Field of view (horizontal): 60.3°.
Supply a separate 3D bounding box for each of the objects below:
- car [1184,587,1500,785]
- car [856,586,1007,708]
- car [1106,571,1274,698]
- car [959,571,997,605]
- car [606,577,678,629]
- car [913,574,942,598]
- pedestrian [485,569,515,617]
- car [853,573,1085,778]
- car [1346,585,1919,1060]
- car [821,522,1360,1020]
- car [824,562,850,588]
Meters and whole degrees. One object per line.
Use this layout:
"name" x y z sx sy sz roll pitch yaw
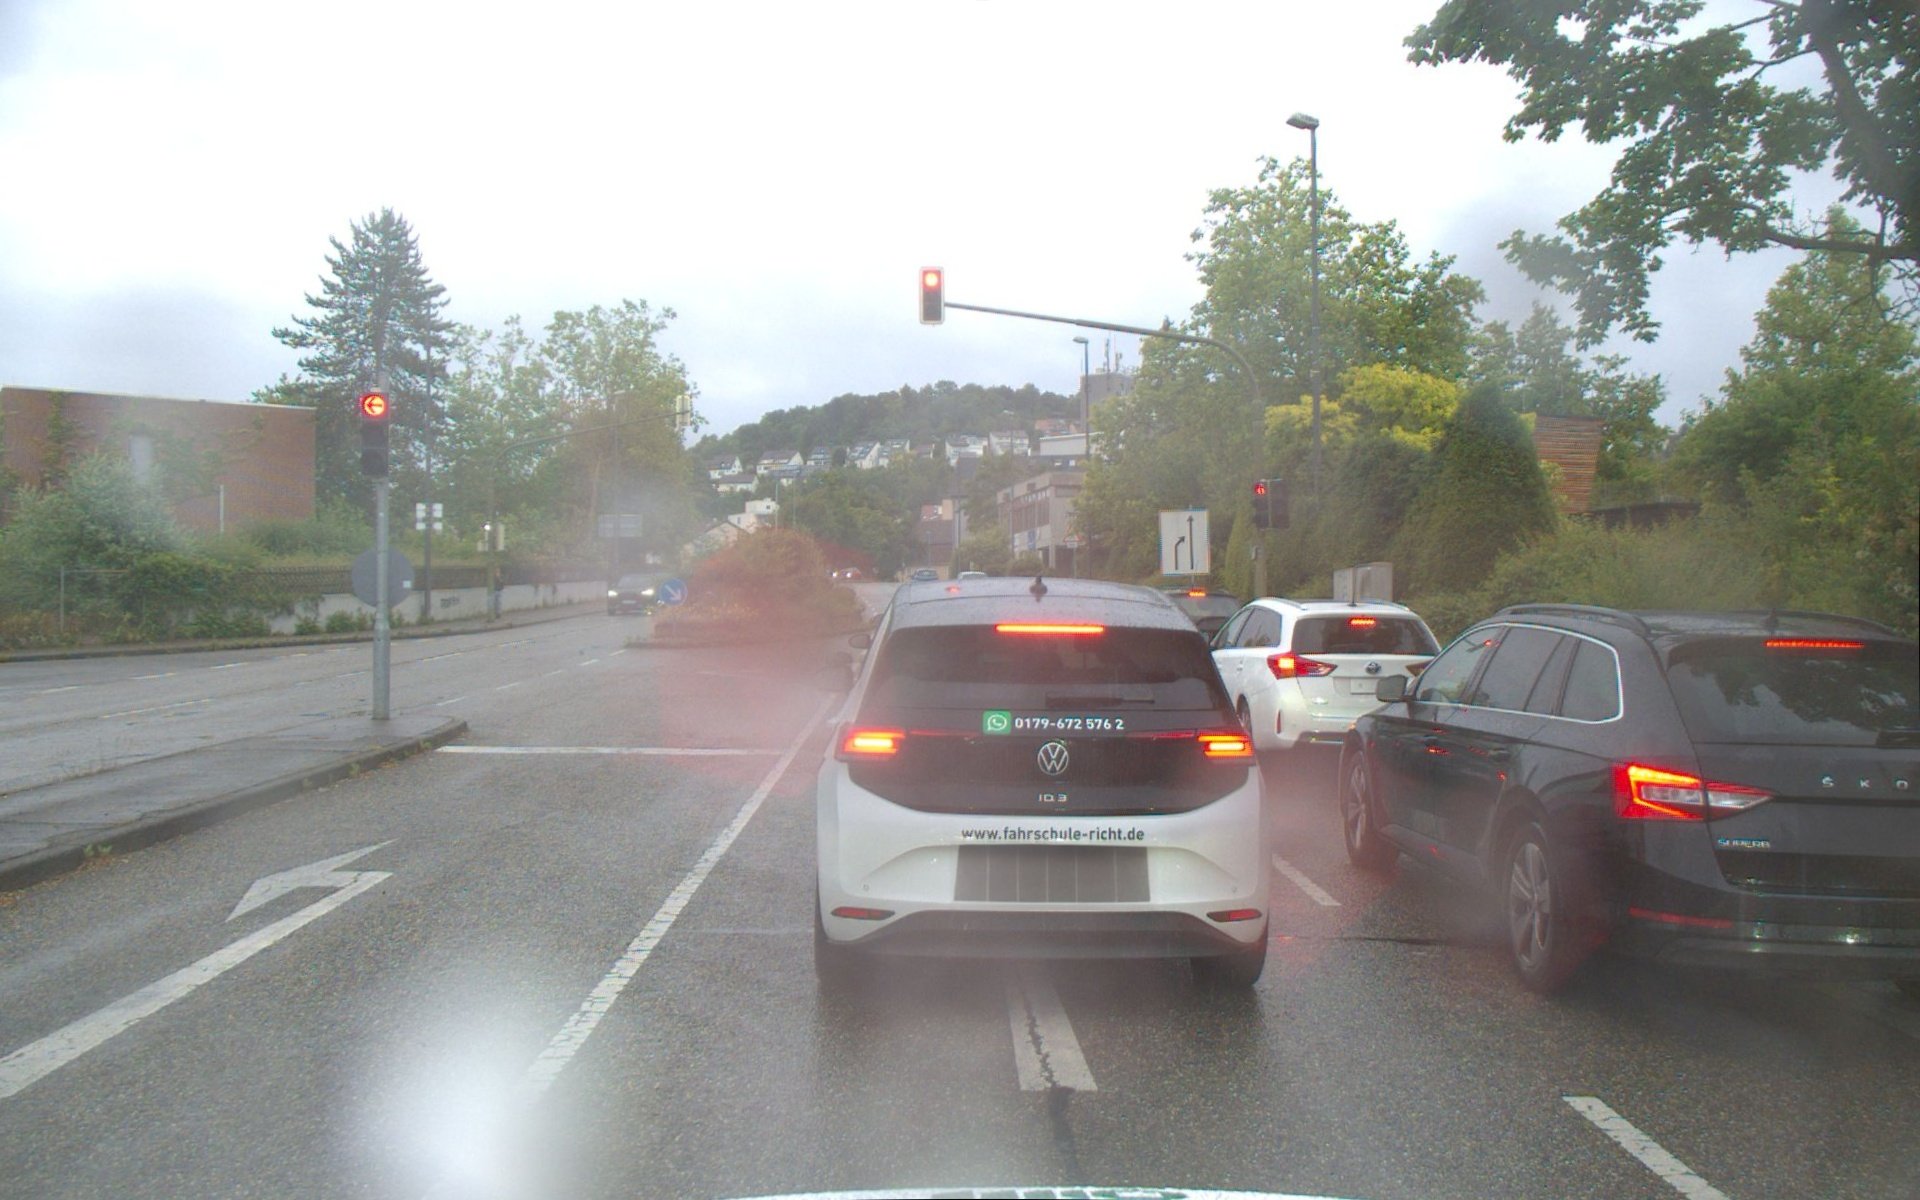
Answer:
"car" 3.268 0.662 15.004 1.800 1.492 4.116 1 1 -1
"car" -0.388 0.559 21.986 1.800 1.424 3.830 1 1 -1
"car" 3.149 0.446 23.353 1.739 1.609 3.999 1 0 -1
"car" 0.793 -0.522 74.789 1.549 1.492 3.998 -1 0 -2
"car" -12.024 0.108 62.768 1.953 1.836 3.999 -3 0 -1
"car" -2.127 -0.921 106.803 1.726 1.443 3.747 -1 1 -3
"pedestrian" -15.482 -0.240 55.705 0.744 1.595 0.825 -2 0 -2
"car" 0.021 0.577 15.170 1.800 1.582 4.174 1 1 -1
"car" 3.143 0.704 7.456 1.800 1.492 4.350 1 1 1
"car" 0.395 0.562 7.932 1.800 1.657 4.614 1 1 -1
"car" -10.415 -2.073 140.237 1.953 2.049 3.999 1 -1 -1
